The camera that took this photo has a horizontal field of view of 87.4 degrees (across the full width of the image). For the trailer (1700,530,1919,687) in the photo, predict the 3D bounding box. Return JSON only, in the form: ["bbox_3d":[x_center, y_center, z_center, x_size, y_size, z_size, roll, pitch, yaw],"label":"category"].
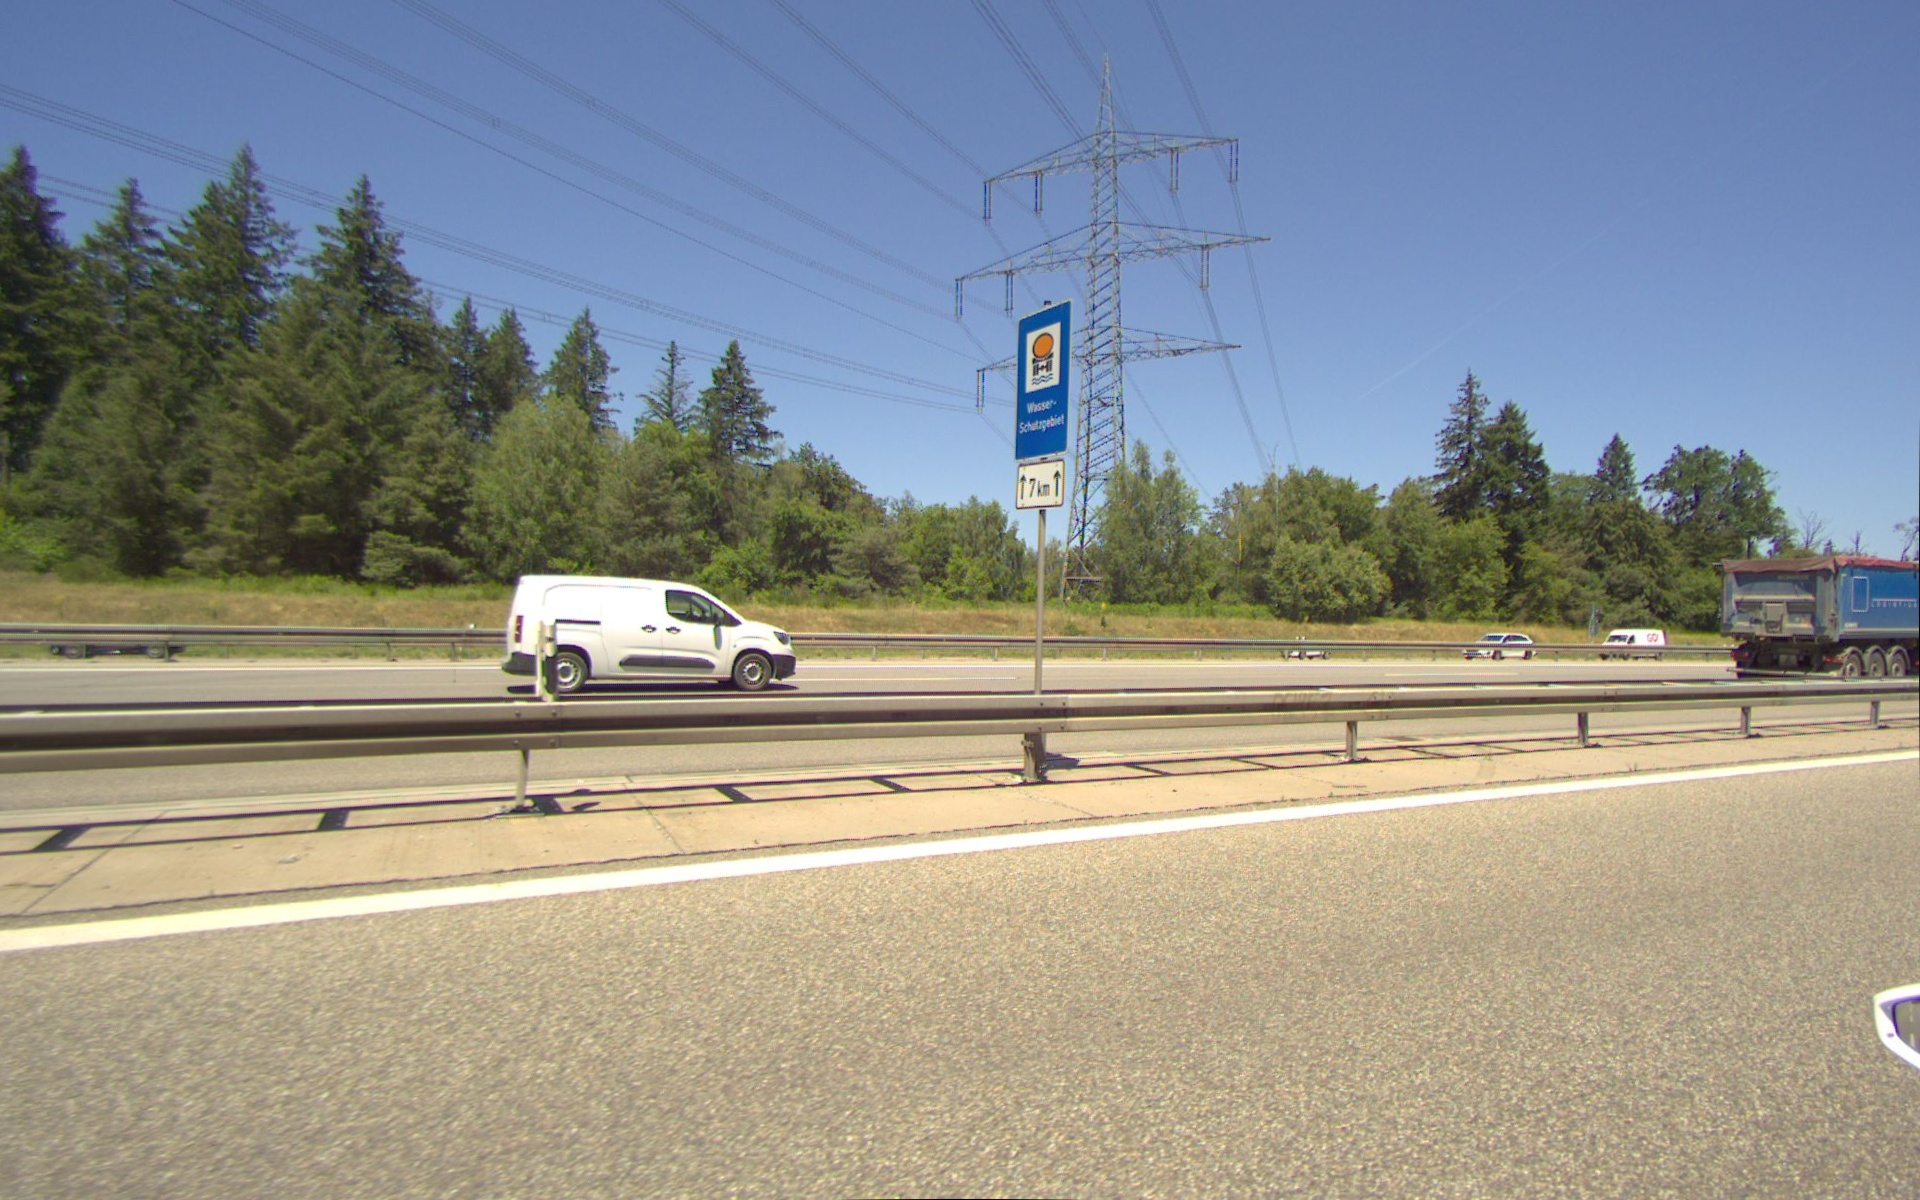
[{"bbox_3d":[24.948,0.319,28.143,9.758,3.858,2.761,1,-1,-27],"label":"trailer"}]

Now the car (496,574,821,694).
[{"bbox_3d":[-4.996,0.576,16.842,4.957,1.777,1.765,2,-1,-28],"label":"car"}]

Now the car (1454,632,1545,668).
[{"bbox_3d":[29.560,2.733,55.032,4.748,1.806,1.987,3,-1,-26],"label":"car"}]

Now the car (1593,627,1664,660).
[{"bbox_3d":[57.262,3.723,85.957,6.826,2.577,1.986,3,-1,-27],"label":"car"}]

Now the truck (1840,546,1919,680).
[{"bbox_3d":[29.578,0.422,30.549,4.562,3.858,2.746,1,-1,-27],"label":"truck"}]

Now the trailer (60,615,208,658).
[{"bbox_3d":[-34.284,1.529,41.869,4.404,1.691,1.985,2,-1,-29],"label":"trailer"}]

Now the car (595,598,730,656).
[{"bbox_3d":[-9.960,0.913,33.672,3.952,1.806,1.985,3,-1,-29],"label":"car"}]

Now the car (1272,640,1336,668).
[{"bbox_3d":[23.960,3.767,69.969,3.946,1.806,1.988,3,-1,-25],"label":"car"}]
